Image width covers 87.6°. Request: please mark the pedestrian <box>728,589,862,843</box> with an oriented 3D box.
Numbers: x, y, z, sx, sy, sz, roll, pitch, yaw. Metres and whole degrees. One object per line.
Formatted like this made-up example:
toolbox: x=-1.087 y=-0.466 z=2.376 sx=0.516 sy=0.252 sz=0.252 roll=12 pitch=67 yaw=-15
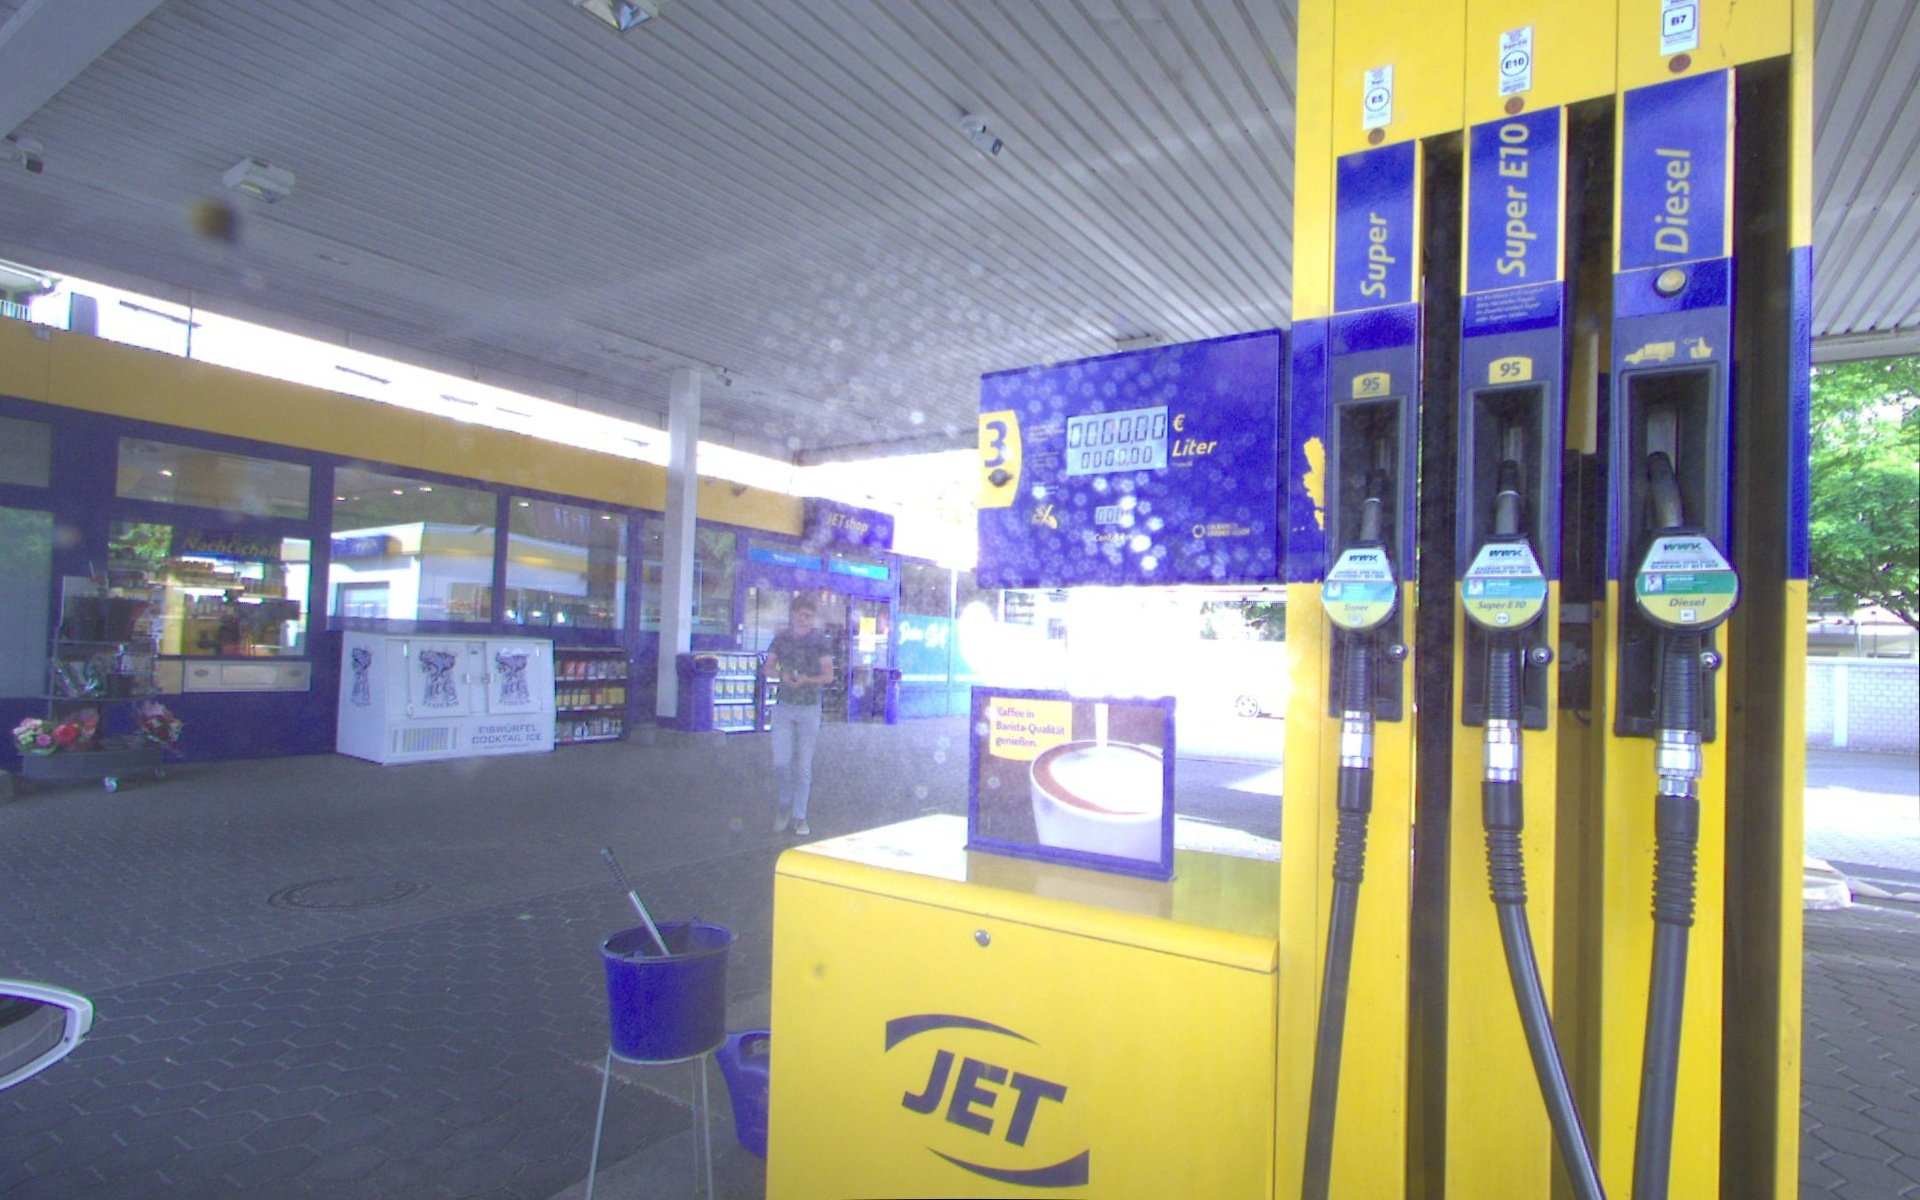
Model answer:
pedestrian: x=-1.268 y=0.876 z=7.900 sx=0.788 sy=1.838 sz=0.985 roll=2 pitch=-2 yaw=2
